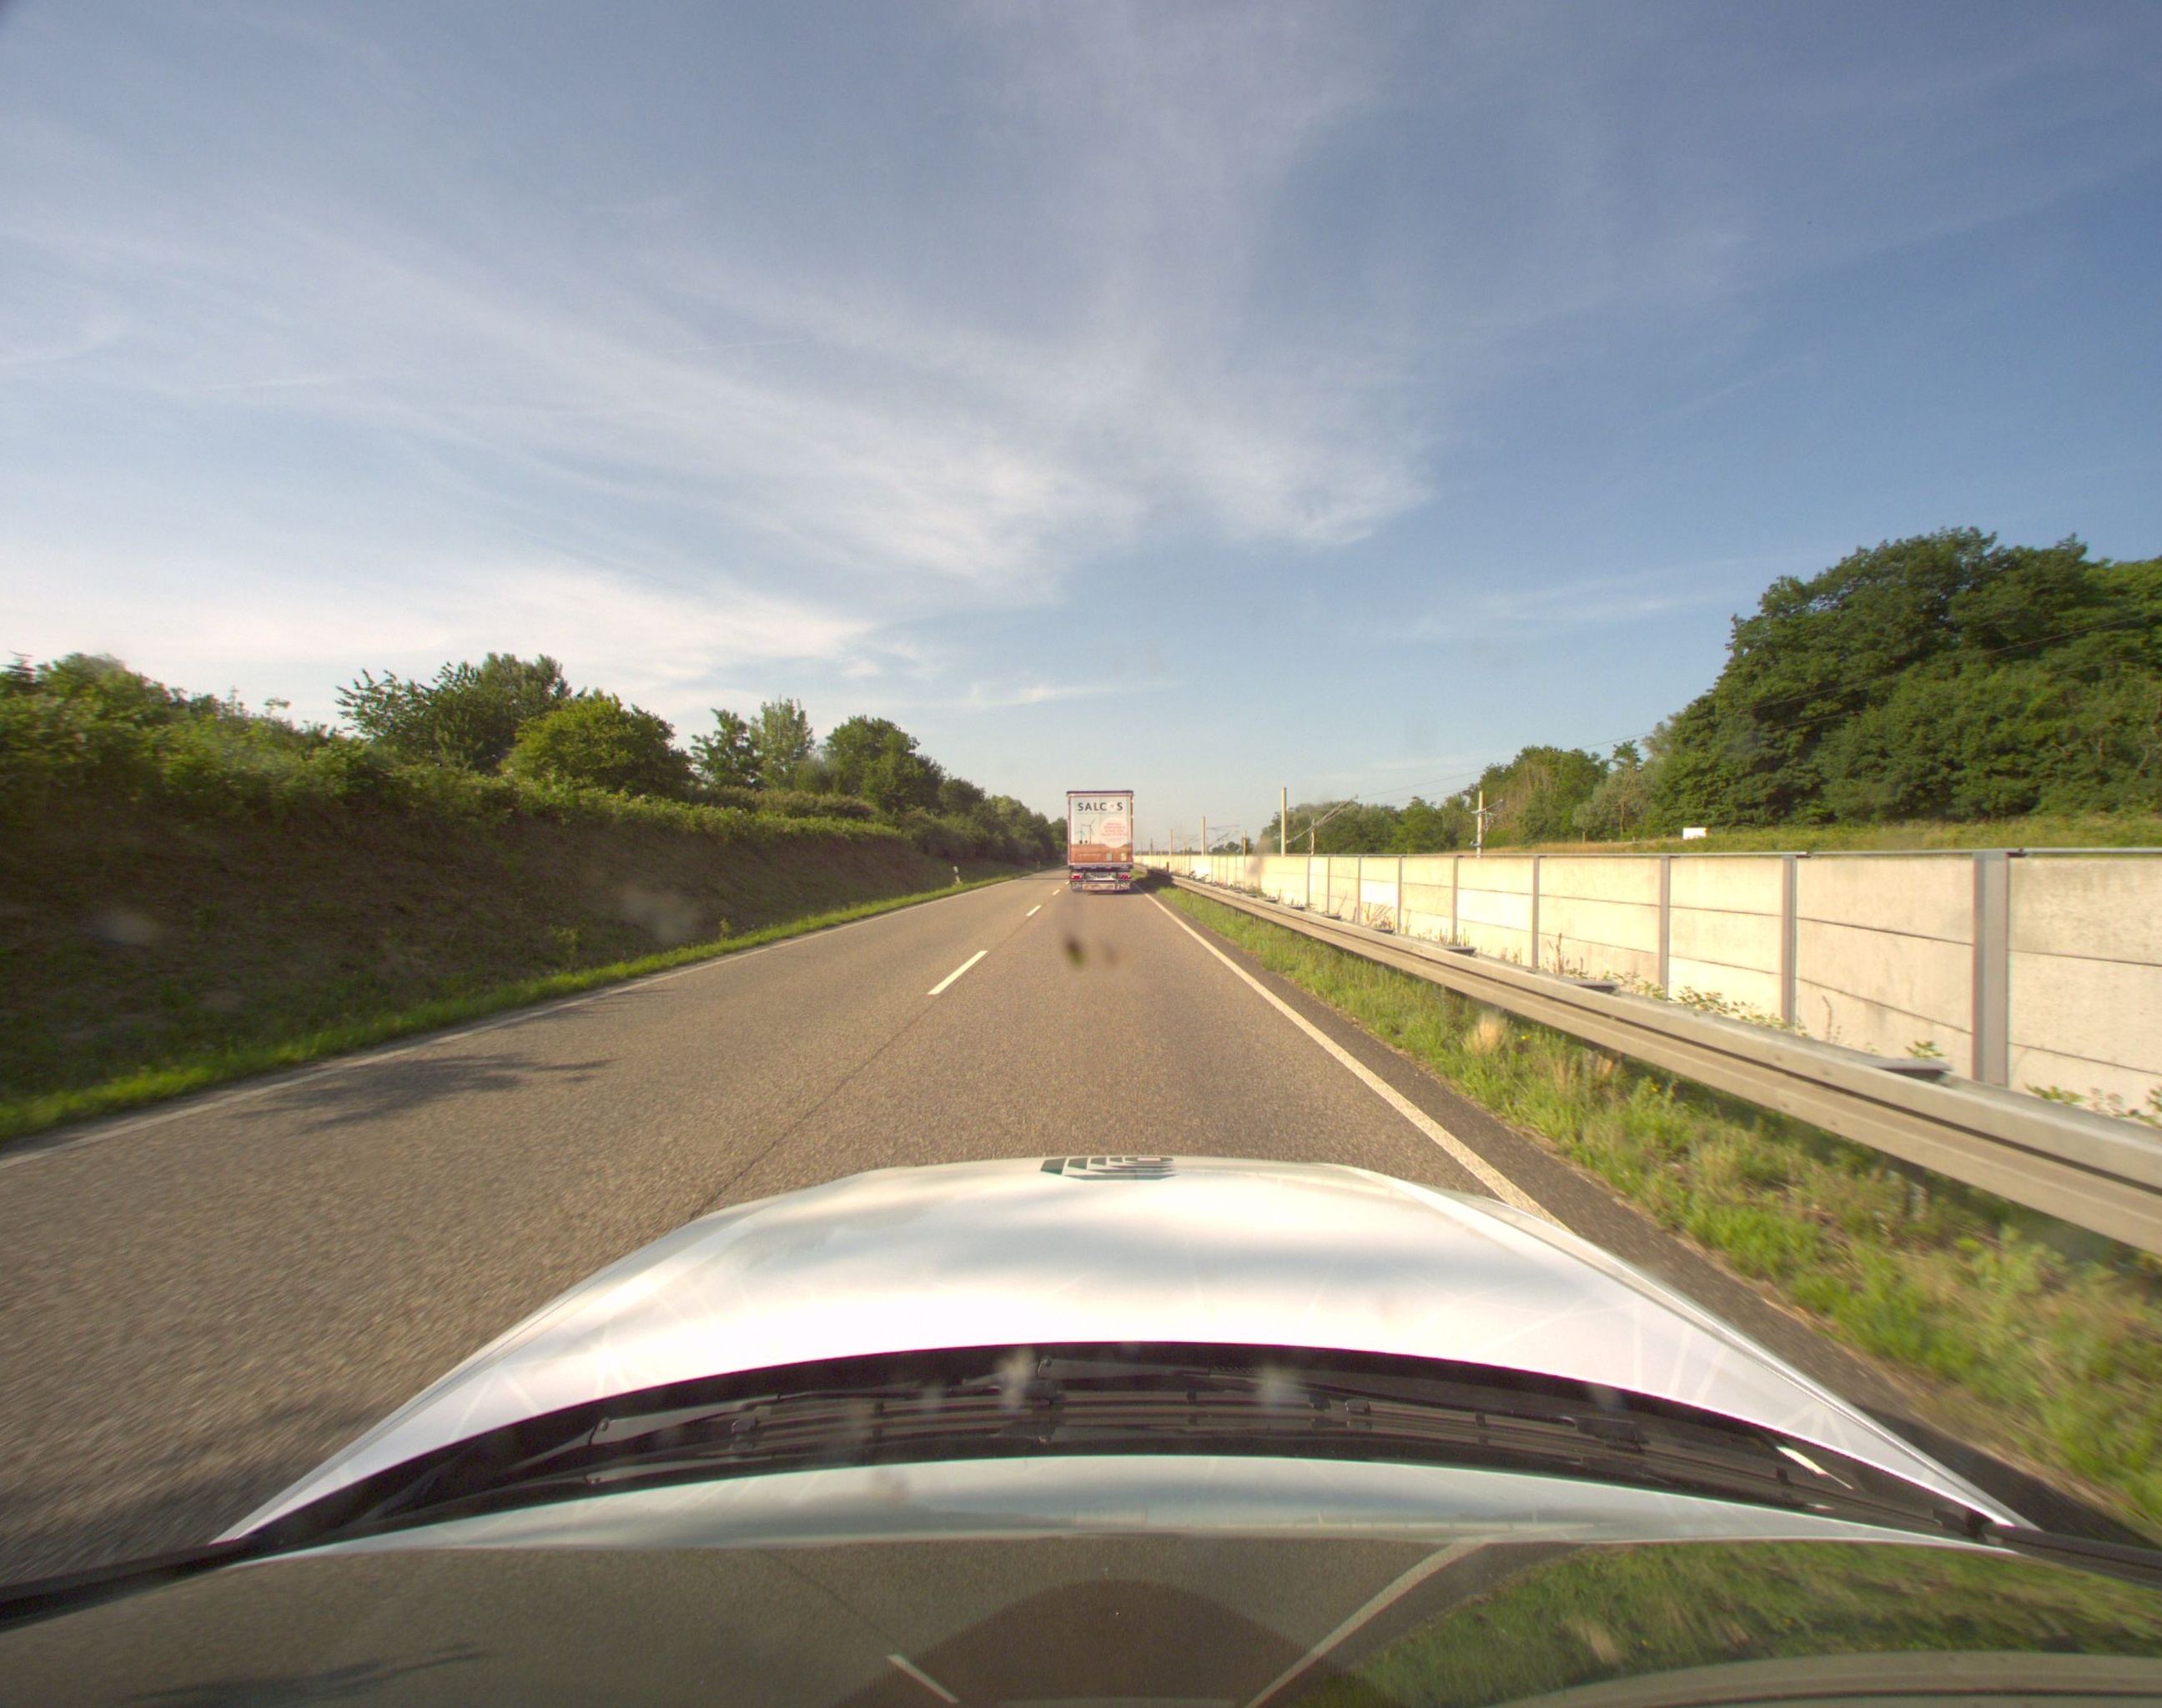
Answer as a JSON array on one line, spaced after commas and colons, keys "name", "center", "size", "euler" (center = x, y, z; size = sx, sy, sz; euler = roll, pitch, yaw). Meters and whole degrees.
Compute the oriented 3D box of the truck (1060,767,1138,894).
[{"name": "truck", "center": [0.731, -0.887, 37.545], "size": [3.023, 4.920, 11.683], "euler": [0, 0, 0]}]
